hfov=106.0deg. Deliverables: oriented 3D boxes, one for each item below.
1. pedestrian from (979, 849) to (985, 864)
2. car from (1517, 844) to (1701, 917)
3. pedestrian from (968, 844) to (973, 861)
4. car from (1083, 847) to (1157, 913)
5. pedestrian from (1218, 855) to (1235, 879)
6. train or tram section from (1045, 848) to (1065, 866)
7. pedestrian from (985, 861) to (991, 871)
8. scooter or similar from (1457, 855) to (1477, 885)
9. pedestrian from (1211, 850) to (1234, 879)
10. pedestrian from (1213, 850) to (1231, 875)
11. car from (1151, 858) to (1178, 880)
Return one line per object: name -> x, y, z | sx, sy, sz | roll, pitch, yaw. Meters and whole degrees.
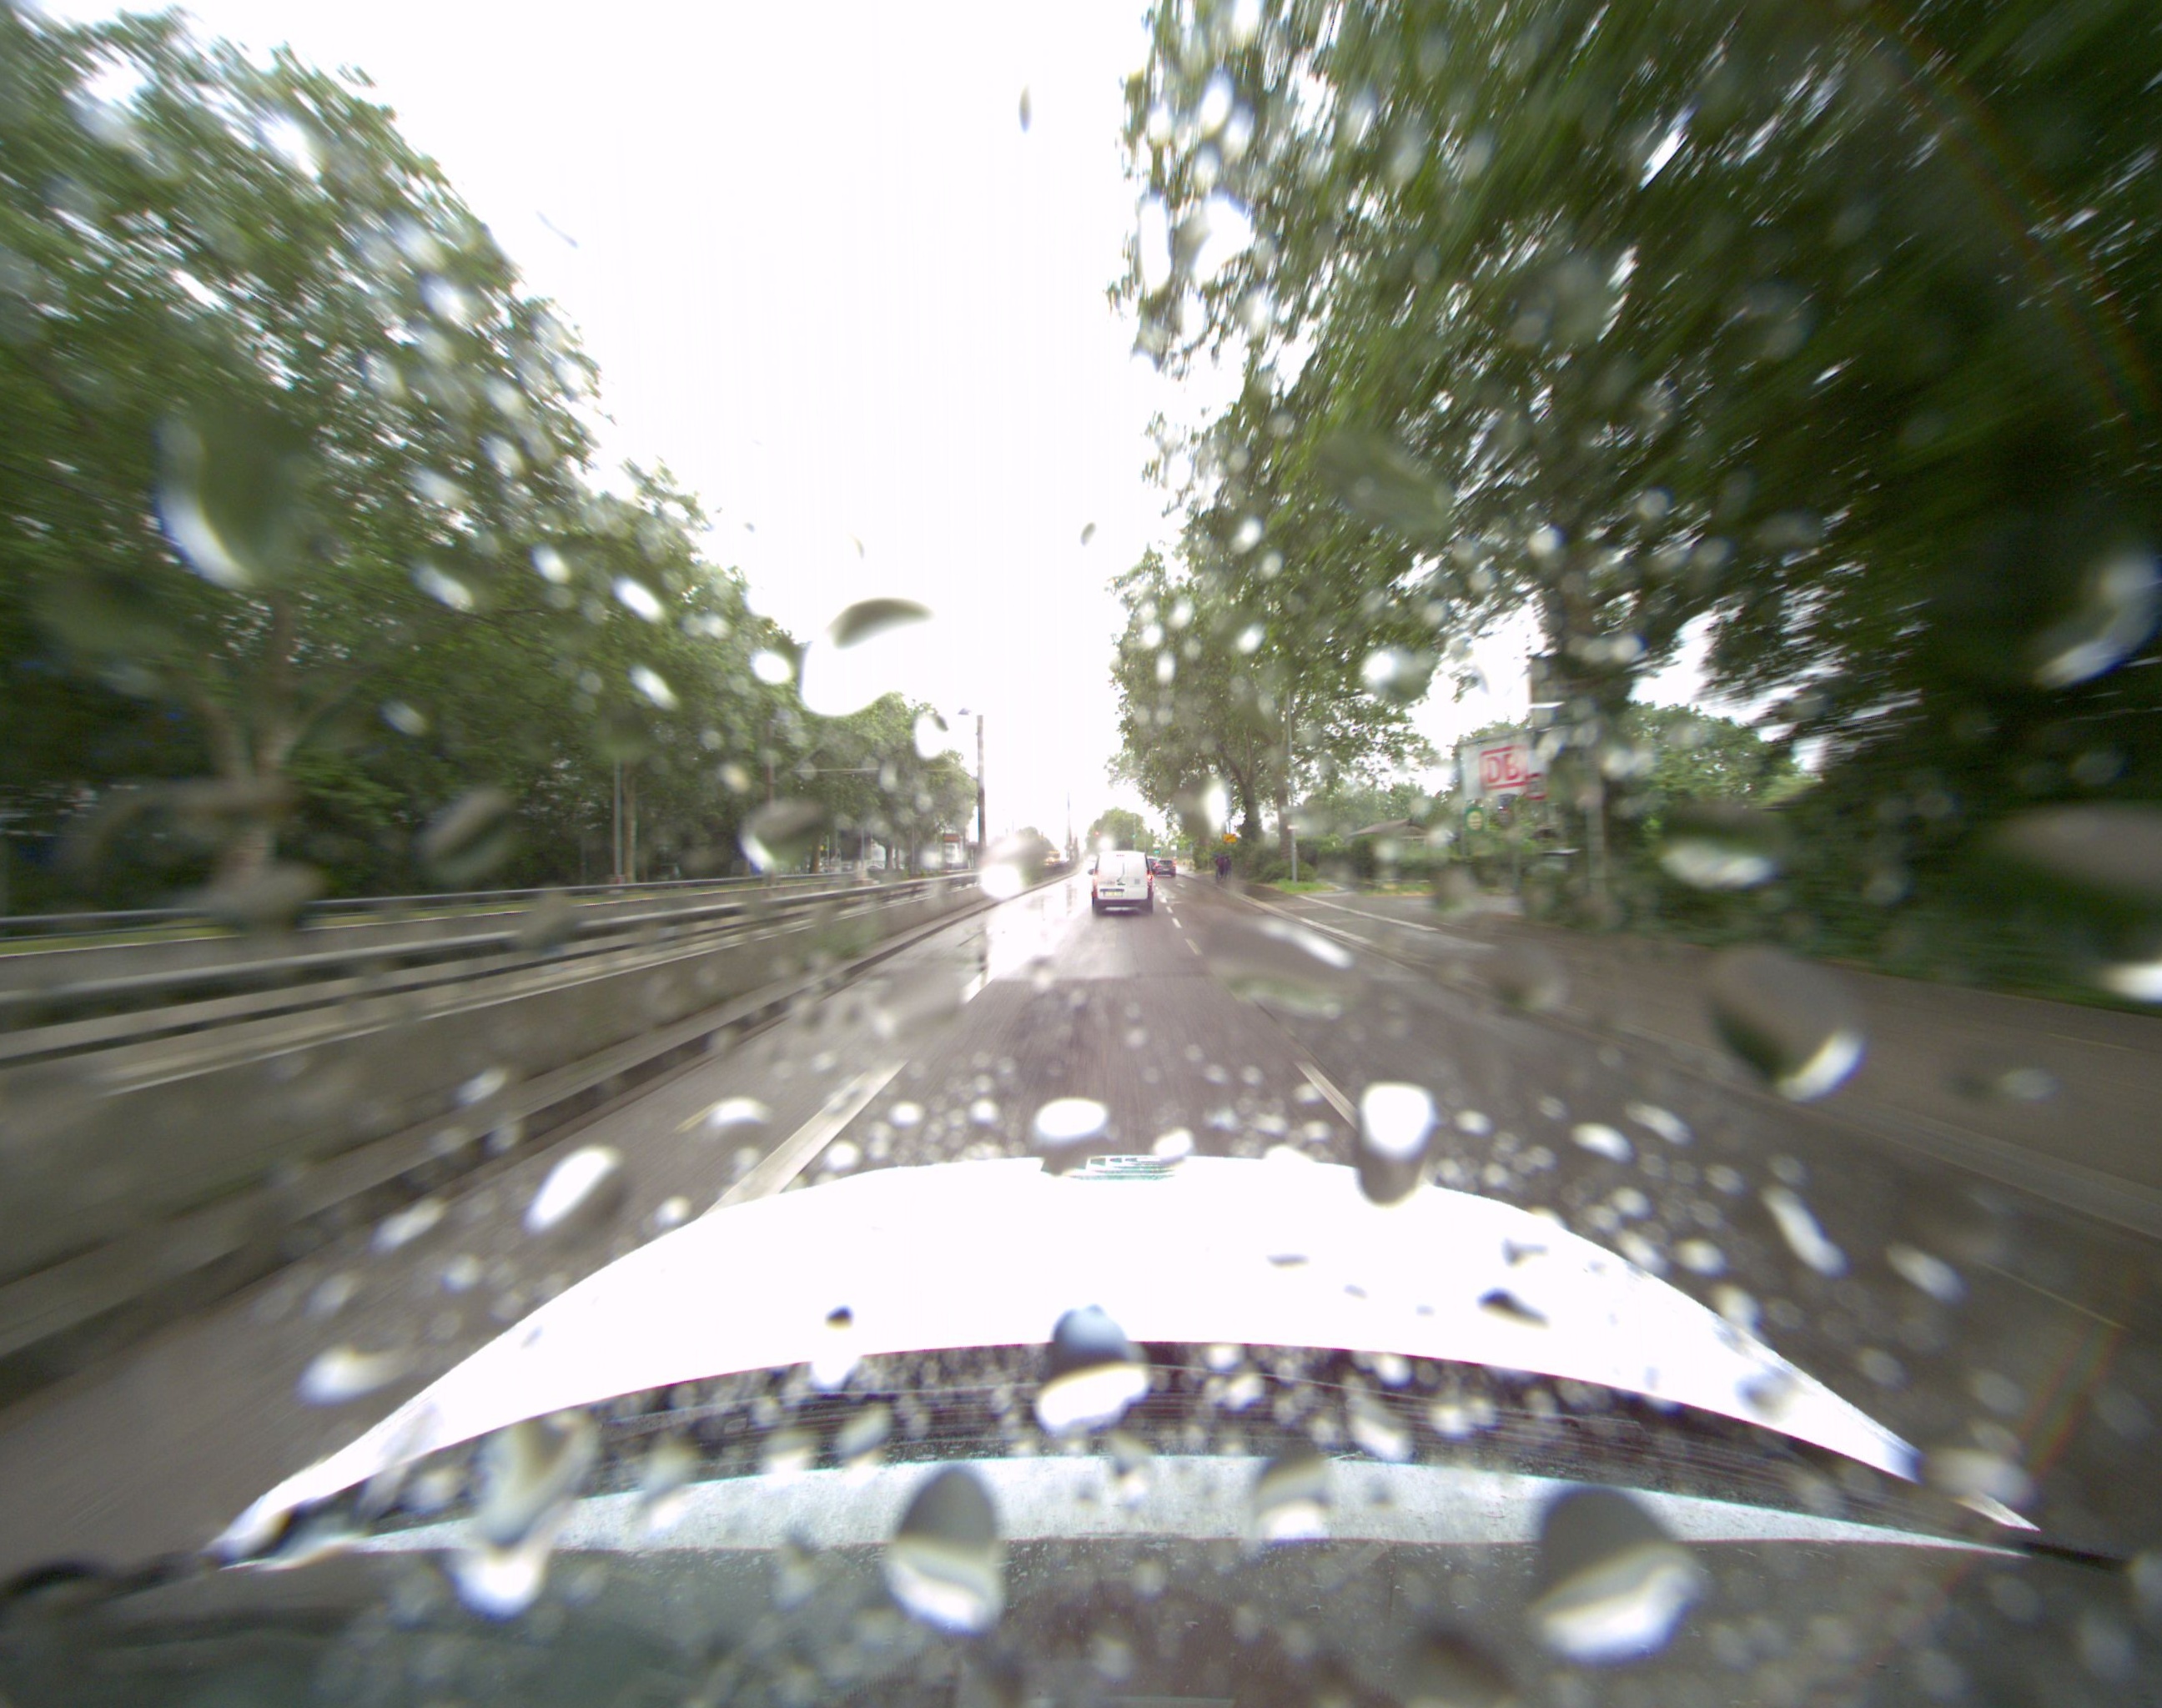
pedestrian -> -12.392, 0.332, 101.971 | 0.618, 1.933, 0.816 | 1, -1, 6
car -> 12.349, 0.575, 19.154 | 3.378, 1.608, 1.654 | 0, 1, -8
pedestrian -> -13.002, -0.168, 95.628 | 0.492, 2.014, 0.582 | 1, -1, -3
car -> 1.079, 0.718, 24.437 | 2.018, 1.775, 4.274 | 1, 0, 0
pedestrian -> 8.828, 0.805, 49.410 | 0.888, 1.390, 1.017 | -3, -1, 3
train or tram section -> -6.338, 0.864, 202.841 | 3.757, 4.036, 27.094 | 1, 0, 1
pedestrian -> -12.302, 1.598, 107.404 | 0.640, 1.303, 0.816 | 1, -1, 6
scooter or similar -> 14.419, 0.596, 30.443 | 0.455, 1.117, 1.281 | 1, -1, 15
pedestrian -> 9.337, 0.695, 53.631 | 1.235, 1.785, 1.148 | -5, -1, 3
pedestrian -> 9.009, 0.539, 52.169 | 0.943, 1.589, 1.295 | -2, -1, 3
car -> 6.754, 1.186, 66.152 | 1.985, 1.750, 4.003 | 1, 0, 3
